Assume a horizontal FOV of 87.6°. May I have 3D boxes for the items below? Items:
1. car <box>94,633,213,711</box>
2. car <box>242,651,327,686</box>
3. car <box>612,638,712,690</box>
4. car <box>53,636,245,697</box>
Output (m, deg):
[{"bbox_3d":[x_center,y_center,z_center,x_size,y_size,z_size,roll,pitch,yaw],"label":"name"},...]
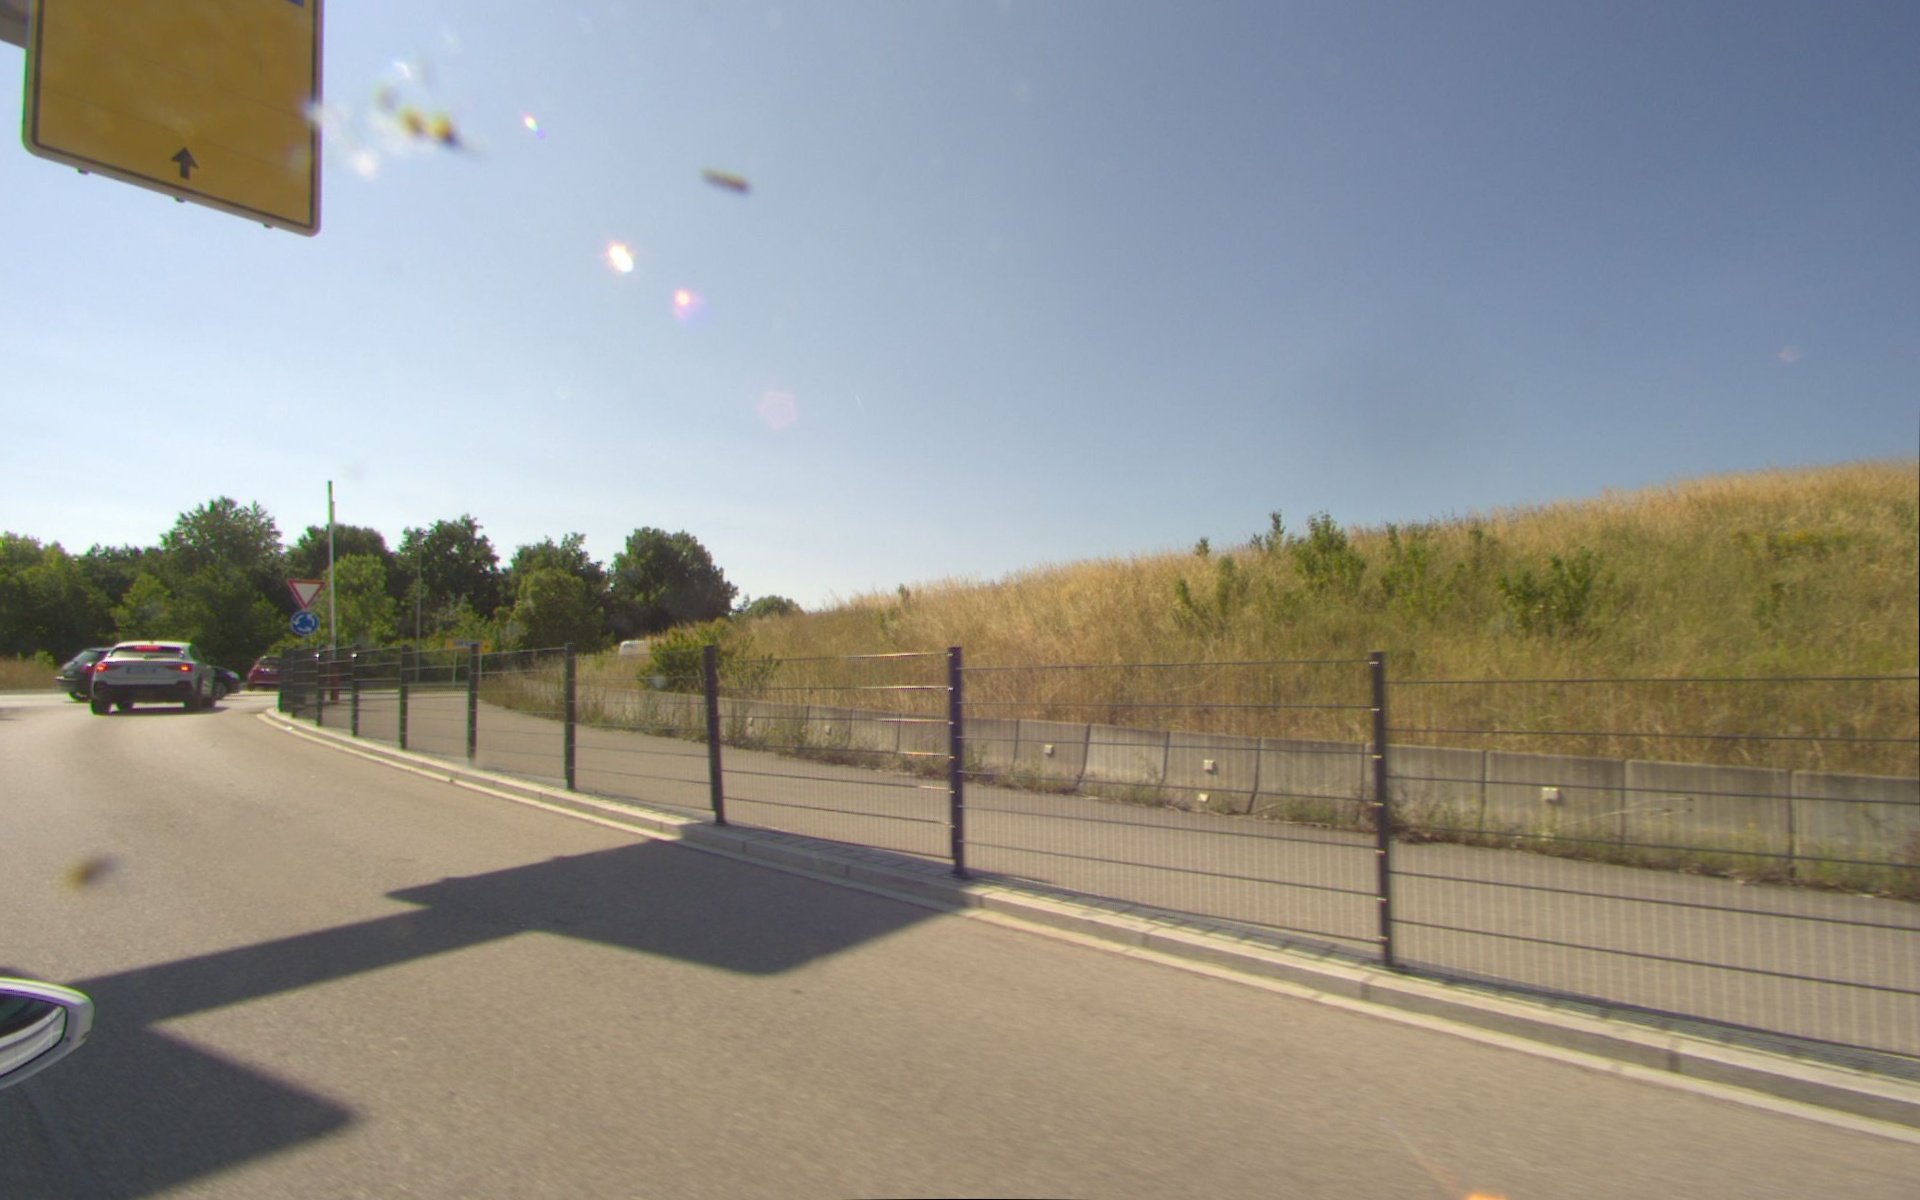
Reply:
[{"bbox_3d":[-18.378,1.636,22.984,1.825,1.615,4.297,2,-4,-35],"label":"car"},{"bbox_3d":[-29.447,2.996,43.769,1.596,1.422,3.819,1,-4,-10],"label":"car"},{"bbox_3d":[-15.737,3.470,53.355,2.052,2.584,6.193,0,-4,16],"label":"car"},{"bbox_3d":[-23.385,1.954,29.004,1.795,1.637,3.940,-2,-5,36],"label":"car"}]
